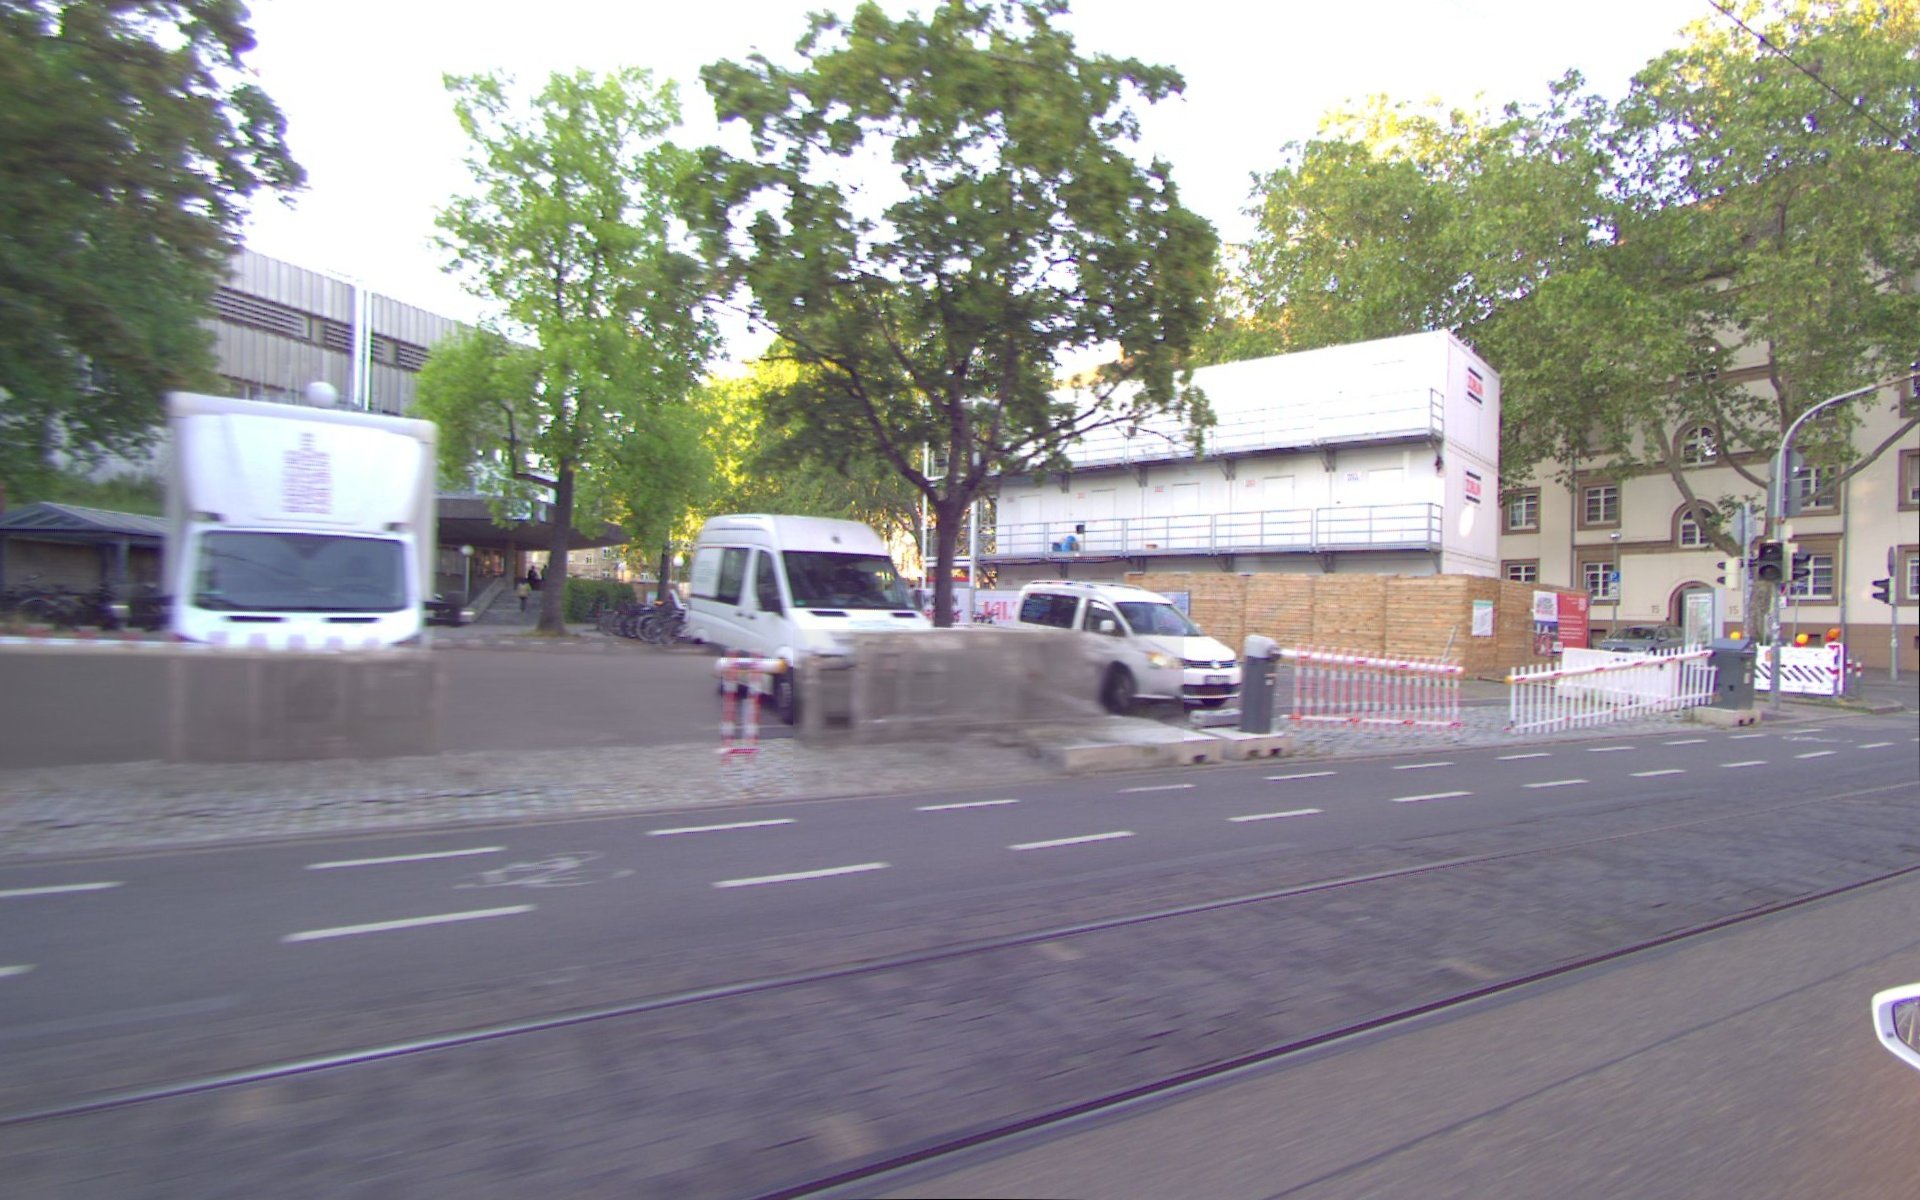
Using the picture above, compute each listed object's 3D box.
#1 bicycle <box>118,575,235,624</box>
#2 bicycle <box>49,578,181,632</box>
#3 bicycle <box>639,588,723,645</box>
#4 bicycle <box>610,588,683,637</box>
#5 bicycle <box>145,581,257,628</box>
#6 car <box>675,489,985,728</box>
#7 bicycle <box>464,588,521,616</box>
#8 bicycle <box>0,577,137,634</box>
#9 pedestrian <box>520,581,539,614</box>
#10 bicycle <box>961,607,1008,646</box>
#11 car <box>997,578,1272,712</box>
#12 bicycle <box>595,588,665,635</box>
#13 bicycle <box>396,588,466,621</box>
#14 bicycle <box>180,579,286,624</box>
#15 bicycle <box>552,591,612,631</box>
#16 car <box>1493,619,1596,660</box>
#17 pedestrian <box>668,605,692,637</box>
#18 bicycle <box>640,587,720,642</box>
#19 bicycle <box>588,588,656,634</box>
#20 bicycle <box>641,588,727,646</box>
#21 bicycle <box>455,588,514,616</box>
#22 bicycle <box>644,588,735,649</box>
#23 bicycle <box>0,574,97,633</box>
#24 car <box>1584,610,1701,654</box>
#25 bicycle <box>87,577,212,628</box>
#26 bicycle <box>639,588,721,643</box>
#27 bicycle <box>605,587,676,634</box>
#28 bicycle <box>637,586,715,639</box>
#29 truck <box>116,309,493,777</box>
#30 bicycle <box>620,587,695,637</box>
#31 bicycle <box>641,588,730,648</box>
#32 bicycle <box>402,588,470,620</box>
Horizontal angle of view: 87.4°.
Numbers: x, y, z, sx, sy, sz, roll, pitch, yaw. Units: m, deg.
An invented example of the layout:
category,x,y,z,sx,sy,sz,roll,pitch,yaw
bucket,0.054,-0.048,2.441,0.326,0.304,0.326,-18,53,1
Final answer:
category,x,y,z,sx,sy,sz,roll,pitch,yaw
bicycle,-20.192,-0.009,25.933,2.226,1.197,0.810,1,0,-14
bicycle,-19.851,0.118,23.648,2.226,1.197,0.810,1,0,-14
bicycle,-7.009,0.420,25.256,1.951,1.387,0.539,1,0,-27
bicycle,-9.190,0.368,29.454,1.951,1.387,0.539,1,0,-27
bicycle,-20.212,0.113,26.805,2.226,1.197,0.810,1,0,-14
car,-2.041,0.077,13.887,2.206,2.632,5.187,1,0,-33
bicycle,-21.158,0.087,45.510,2.226,1.197,0.810,1,0,-14
bicycle,-19.614,0.129,22.071,2.226,1.197,0.810,1,0,-14
pedestrian,-19.423,-0.120,45.317,0.624,1.442,0.755,1,0,-34
bicycle,0.756,0.786,30.423,0.533,1.120,1.973,1,0,30
car,2.707,0.631,16.871,1.990,1.898,4.813,1,0,-28
bicycle,-10.125,0.353,30.833,1.951,1.387,0.539,1,0,-27
bicycle,-20.431,0.170,38.816,2.226,1.197,0.810,1,0,-14
bicycle,-20.194,0.051,27.961,2.226,1.197,0.810,1,0,-14
bicycle,-13.529,0.389,35.939,1.951,1.387,0.539,1,0,-27
car,23.079,1.529,39.651,4.043,1.378,1.745,-1,1,-30
pedestrian,-9.977,0.749,35.762,0.624,1.085,0.755,1,0,-34
bicycle,-7.397,0.389,26.523,1.951,1.387,0.539,1,0,-27
bicycle,-10.551,0.344,31.356,1.951,1.387,0.539,1,0,-27
bicycle,-6.775,0.425,24.694,1.951,1.387,0.539,1,0,-27
bicycle,-21.039,0.087,44.450,2.226,1.197,0.810,1,0,-14
bicycle,-6.250,0.434,23.217,1.951,1.387,0.539,1,0,-27
bicycle,-19.644,0.060,21.047,2.226,1.197,0.810,1,0,-14
car,24.698,1.111,36.334,4.420,1.378,1.745,-1,1,-30
bicycle,-19.964,0.072,24.790,2.226,1.197,0.810,1,0,-14
bicycle,-7.216,0.410,25.918,1.951,1.387,0.539,1,0,-27
bicycle,-9.621,0.323,30.260,1.951,1.387,0.539,1,0,-27
bicycle,-7.675,0.347,27.184,1.951,1.387,0.539,1,0,-27
truck,-7.166,-0.445,11.092,2.540,3.474,7.013,1,0,-34
bicycle,-8.551,0.344,28.424,1.951,1.387,0.539,1,0,-27
bicycle,-6.540,0.428,23.968,1.951,1.387,0.539,1,0,-27
bicycle,-20.730,0.148,39.799,2.226,1.197,0.810,1,0,-14
